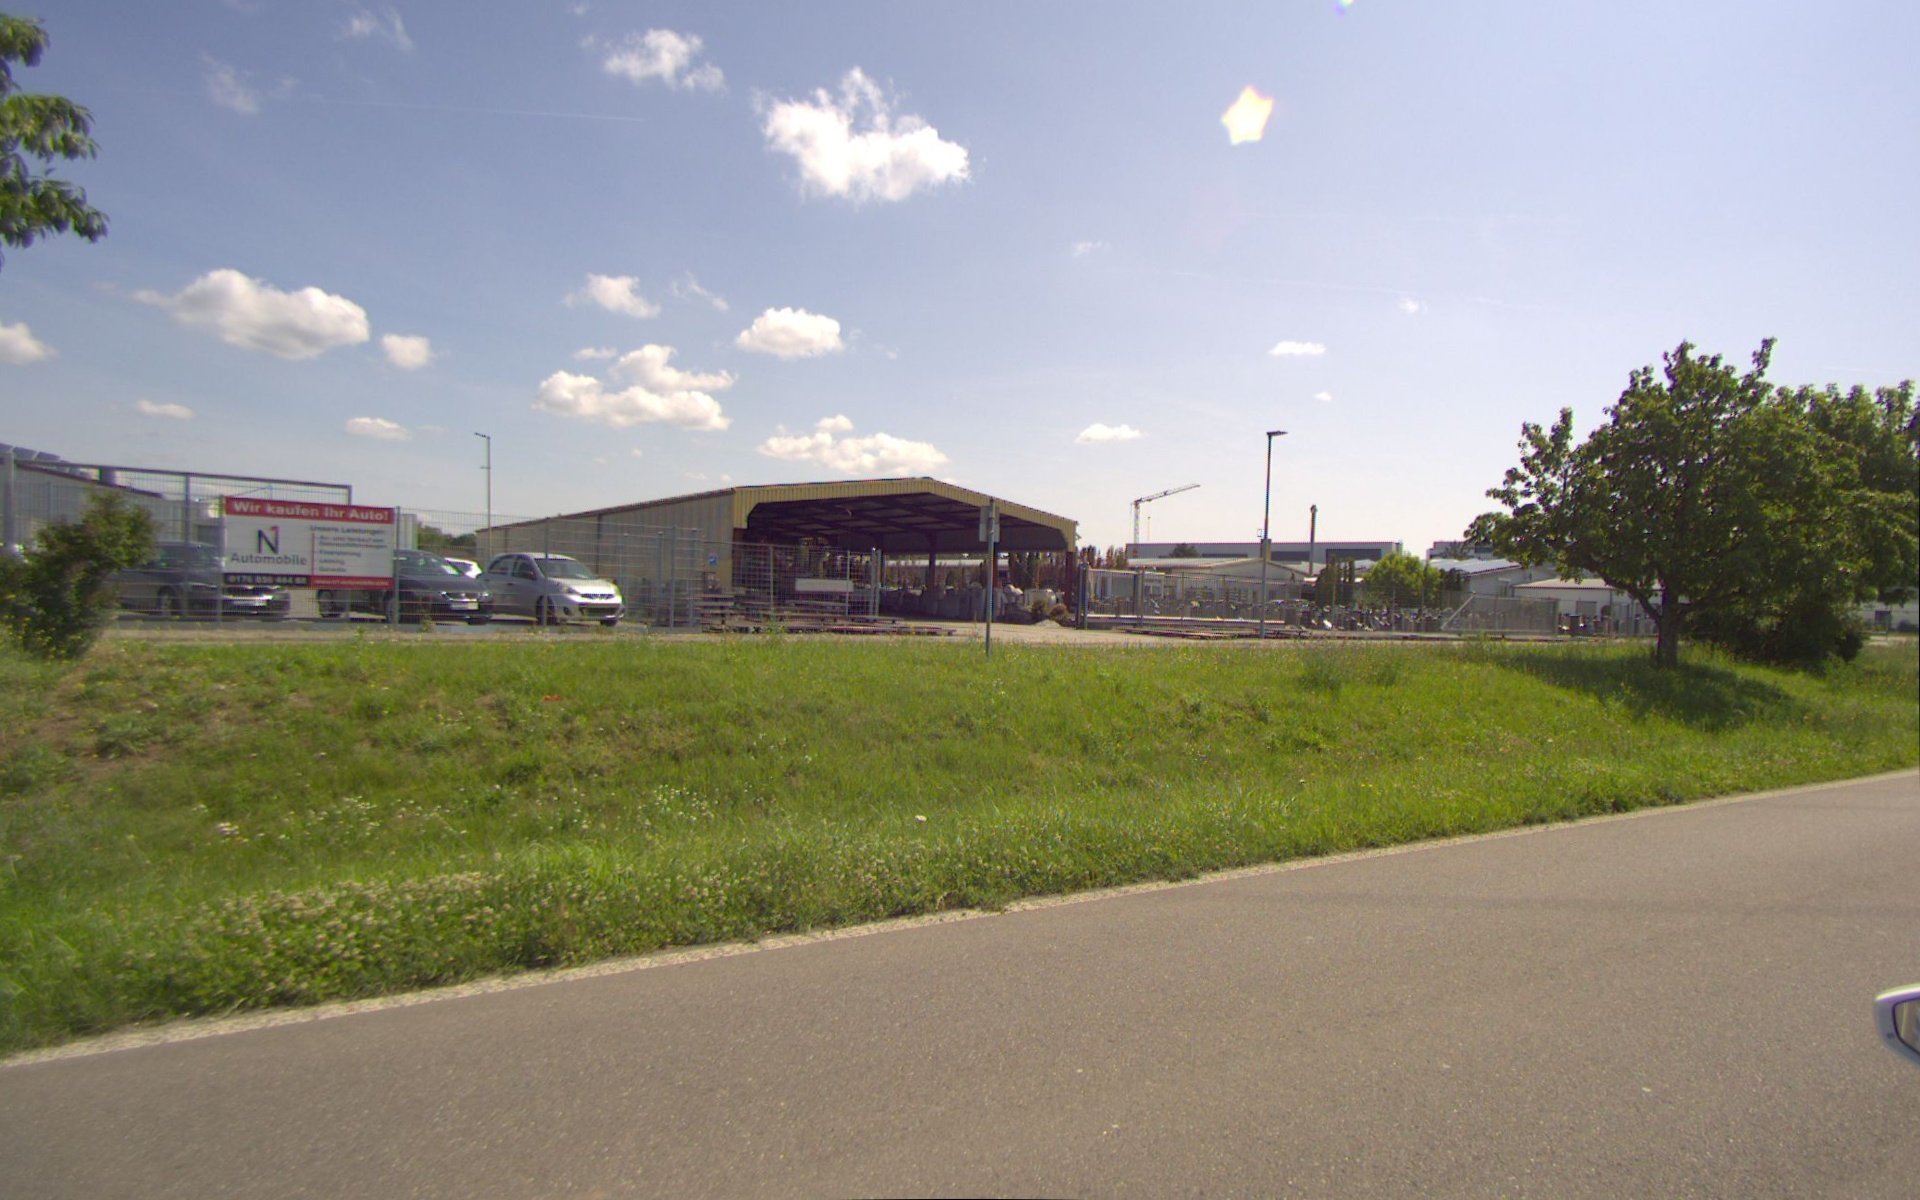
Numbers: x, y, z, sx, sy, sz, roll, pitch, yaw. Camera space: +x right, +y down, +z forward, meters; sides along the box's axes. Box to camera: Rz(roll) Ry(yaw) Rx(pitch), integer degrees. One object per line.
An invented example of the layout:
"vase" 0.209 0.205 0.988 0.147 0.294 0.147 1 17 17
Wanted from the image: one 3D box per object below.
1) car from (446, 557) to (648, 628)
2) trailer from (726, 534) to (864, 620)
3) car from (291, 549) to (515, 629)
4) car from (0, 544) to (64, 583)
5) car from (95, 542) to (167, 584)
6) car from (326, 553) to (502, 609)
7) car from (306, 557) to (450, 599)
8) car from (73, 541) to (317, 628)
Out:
"car" -8.928 -0.181 21.710 3.926 1.328 1.940 3 1 27
"trailer" -6.144 -0.854 36.792 2.715 2.863 5.521 1 1 -37
"car" -10.795 -0.240 19.457 3.926 1.328 1.940 3 1 27
"car" -37.561 -1.467 39.023 3.967 1.461 1.861 2 1 -40
"car" -36.682 -1.635 44.545 1.979 1.717 3.963 2 1 -33
"car" -16.239 -0.541 30.094 1.964 1.506 4.241 3 1 28
"car" -20.103 -0.726 34.875 1.809 1.328 3.995 3 1 27
"car" -13.595 -0.300 17.842 3.926 1.328 1.940 3 1 27
